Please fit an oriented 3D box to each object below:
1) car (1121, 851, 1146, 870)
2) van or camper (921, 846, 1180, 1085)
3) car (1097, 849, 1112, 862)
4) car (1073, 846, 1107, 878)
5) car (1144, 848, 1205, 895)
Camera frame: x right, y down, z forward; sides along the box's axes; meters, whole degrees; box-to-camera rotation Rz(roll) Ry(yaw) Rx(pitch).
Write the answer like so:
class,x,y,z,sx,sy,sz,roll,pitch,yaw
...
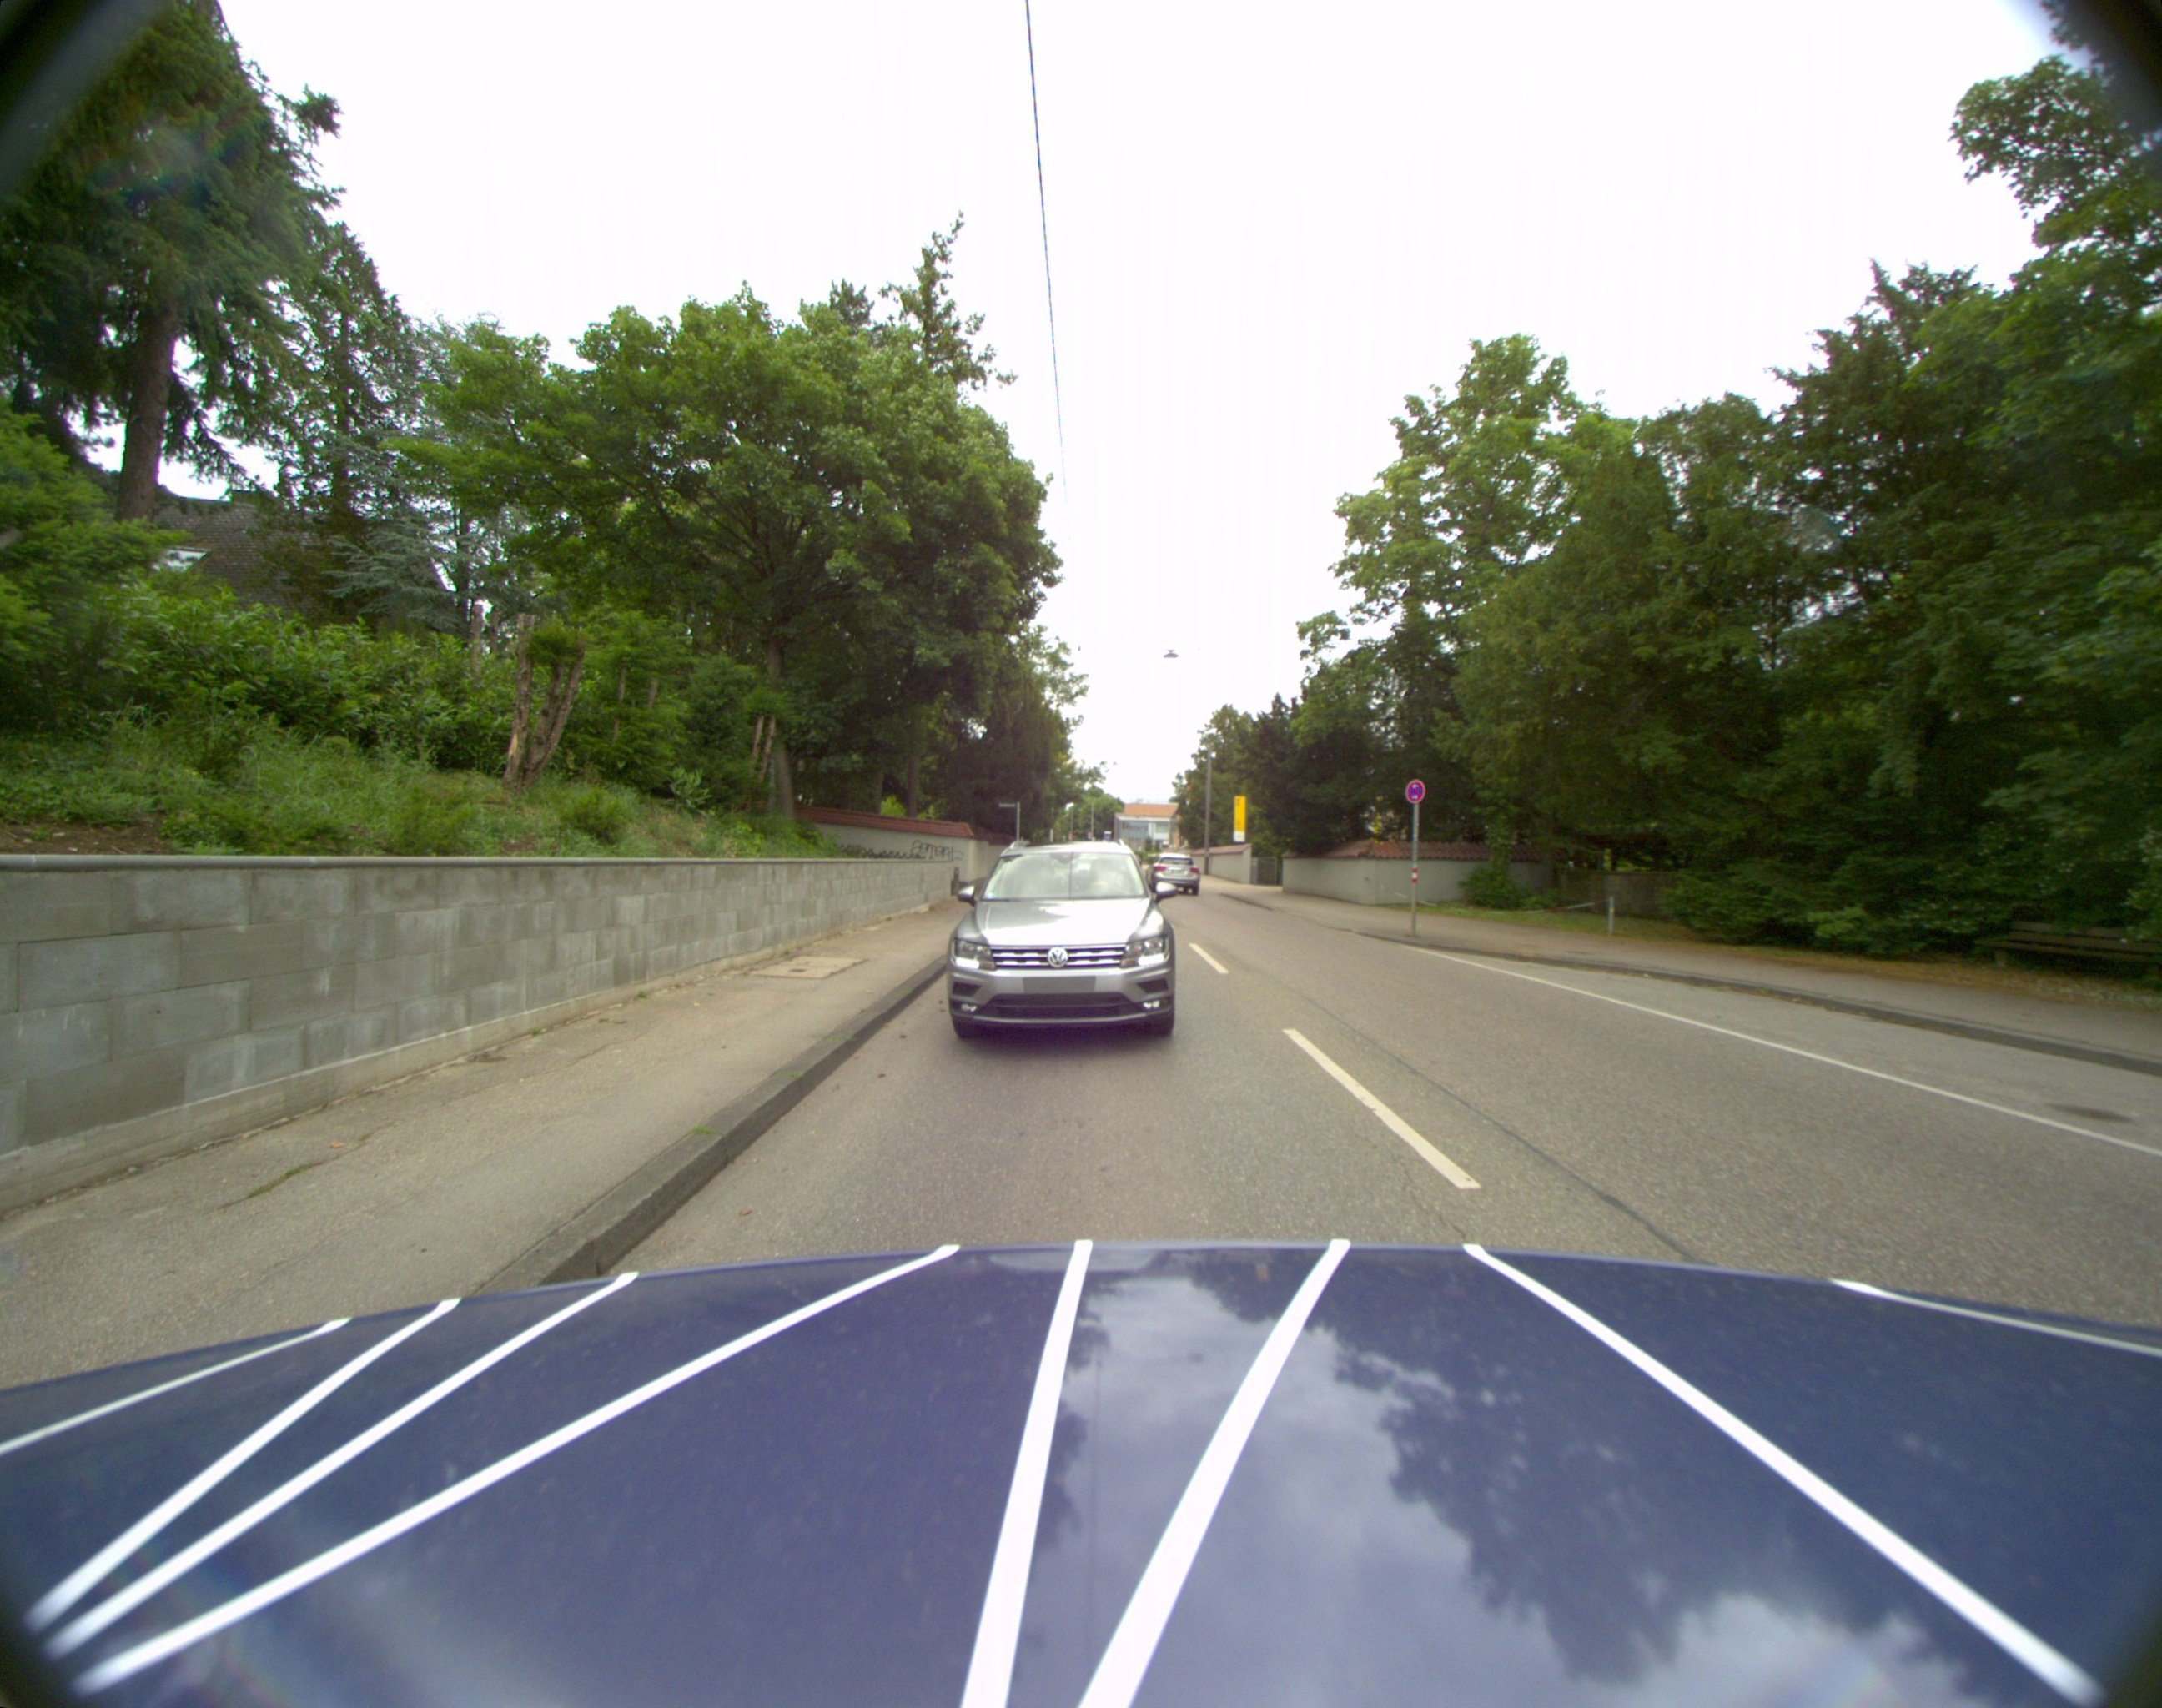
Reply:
class,x,y,z,sx,sy,sz,roll,pitch,yaw
car,4.453,0.526,65.373,1.864,1.445,4.110,3,0,1
van or camper,-0.188,0.764,7.392,1.800,1.663,4.198,0,0,1
car,2.997,0.179,96.787,1.864,1.648,4.305,1,0,1
car,0.540,0.441,43.664,1.789,1.644,4.120,3,0,1
car,3.619,0.648,30.042,1.789,1.644,4.120,3,0,-1
